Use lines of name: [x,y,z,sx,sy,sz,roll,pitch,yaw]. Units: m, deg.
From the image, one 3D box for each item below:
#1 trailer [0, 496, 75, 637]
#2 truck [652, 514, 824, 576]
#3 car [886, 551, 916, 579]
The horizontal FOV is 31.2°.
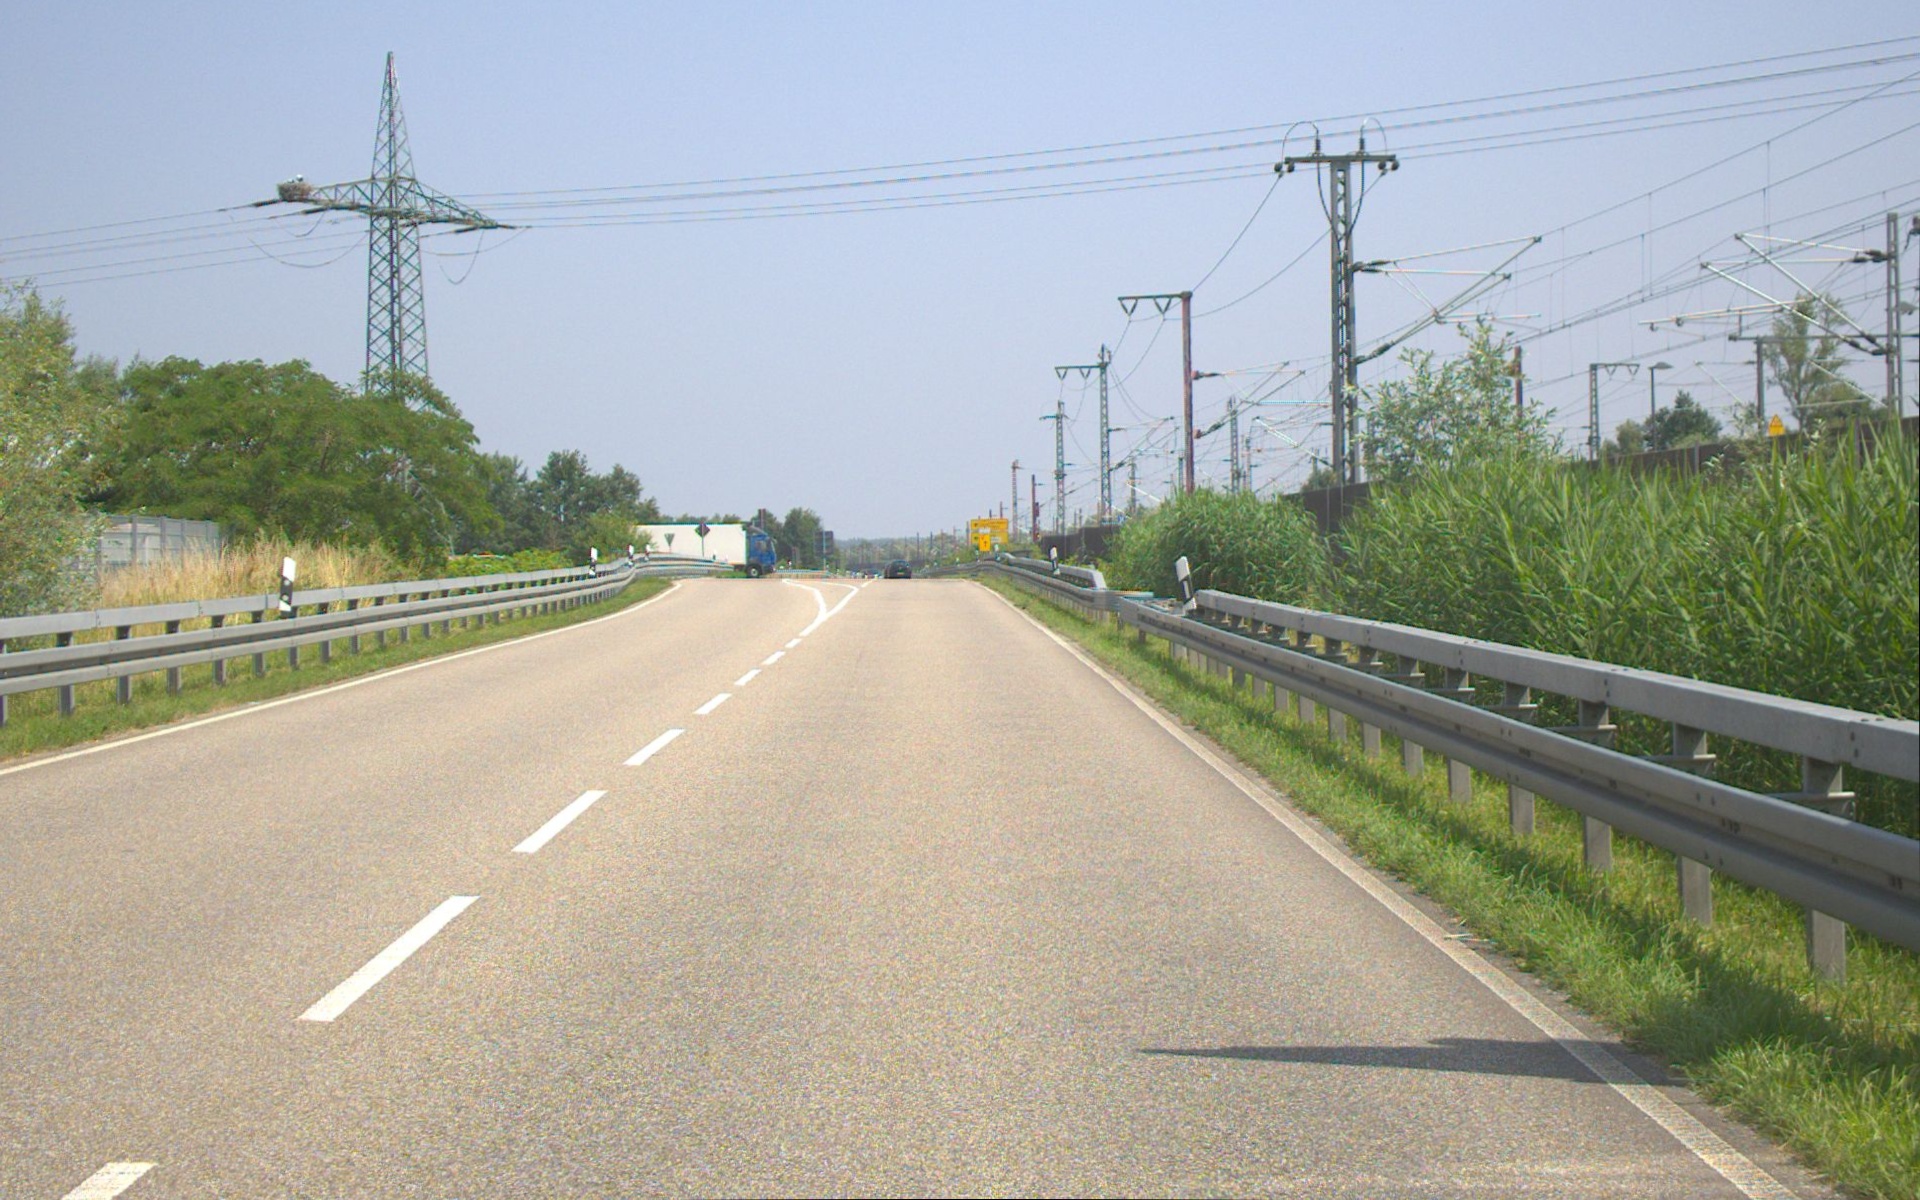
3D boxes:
trailer: [-14.951,-0.480,46.396,5.386,1.842,2.544,0,1,-1]
truck: [-13.581,-3.375,211.058,10.412,3.619,2.845,1,1,-2]
car: [-4.345,-2.618,254.220,1.993,2.007,4.001,0,1,-4]
